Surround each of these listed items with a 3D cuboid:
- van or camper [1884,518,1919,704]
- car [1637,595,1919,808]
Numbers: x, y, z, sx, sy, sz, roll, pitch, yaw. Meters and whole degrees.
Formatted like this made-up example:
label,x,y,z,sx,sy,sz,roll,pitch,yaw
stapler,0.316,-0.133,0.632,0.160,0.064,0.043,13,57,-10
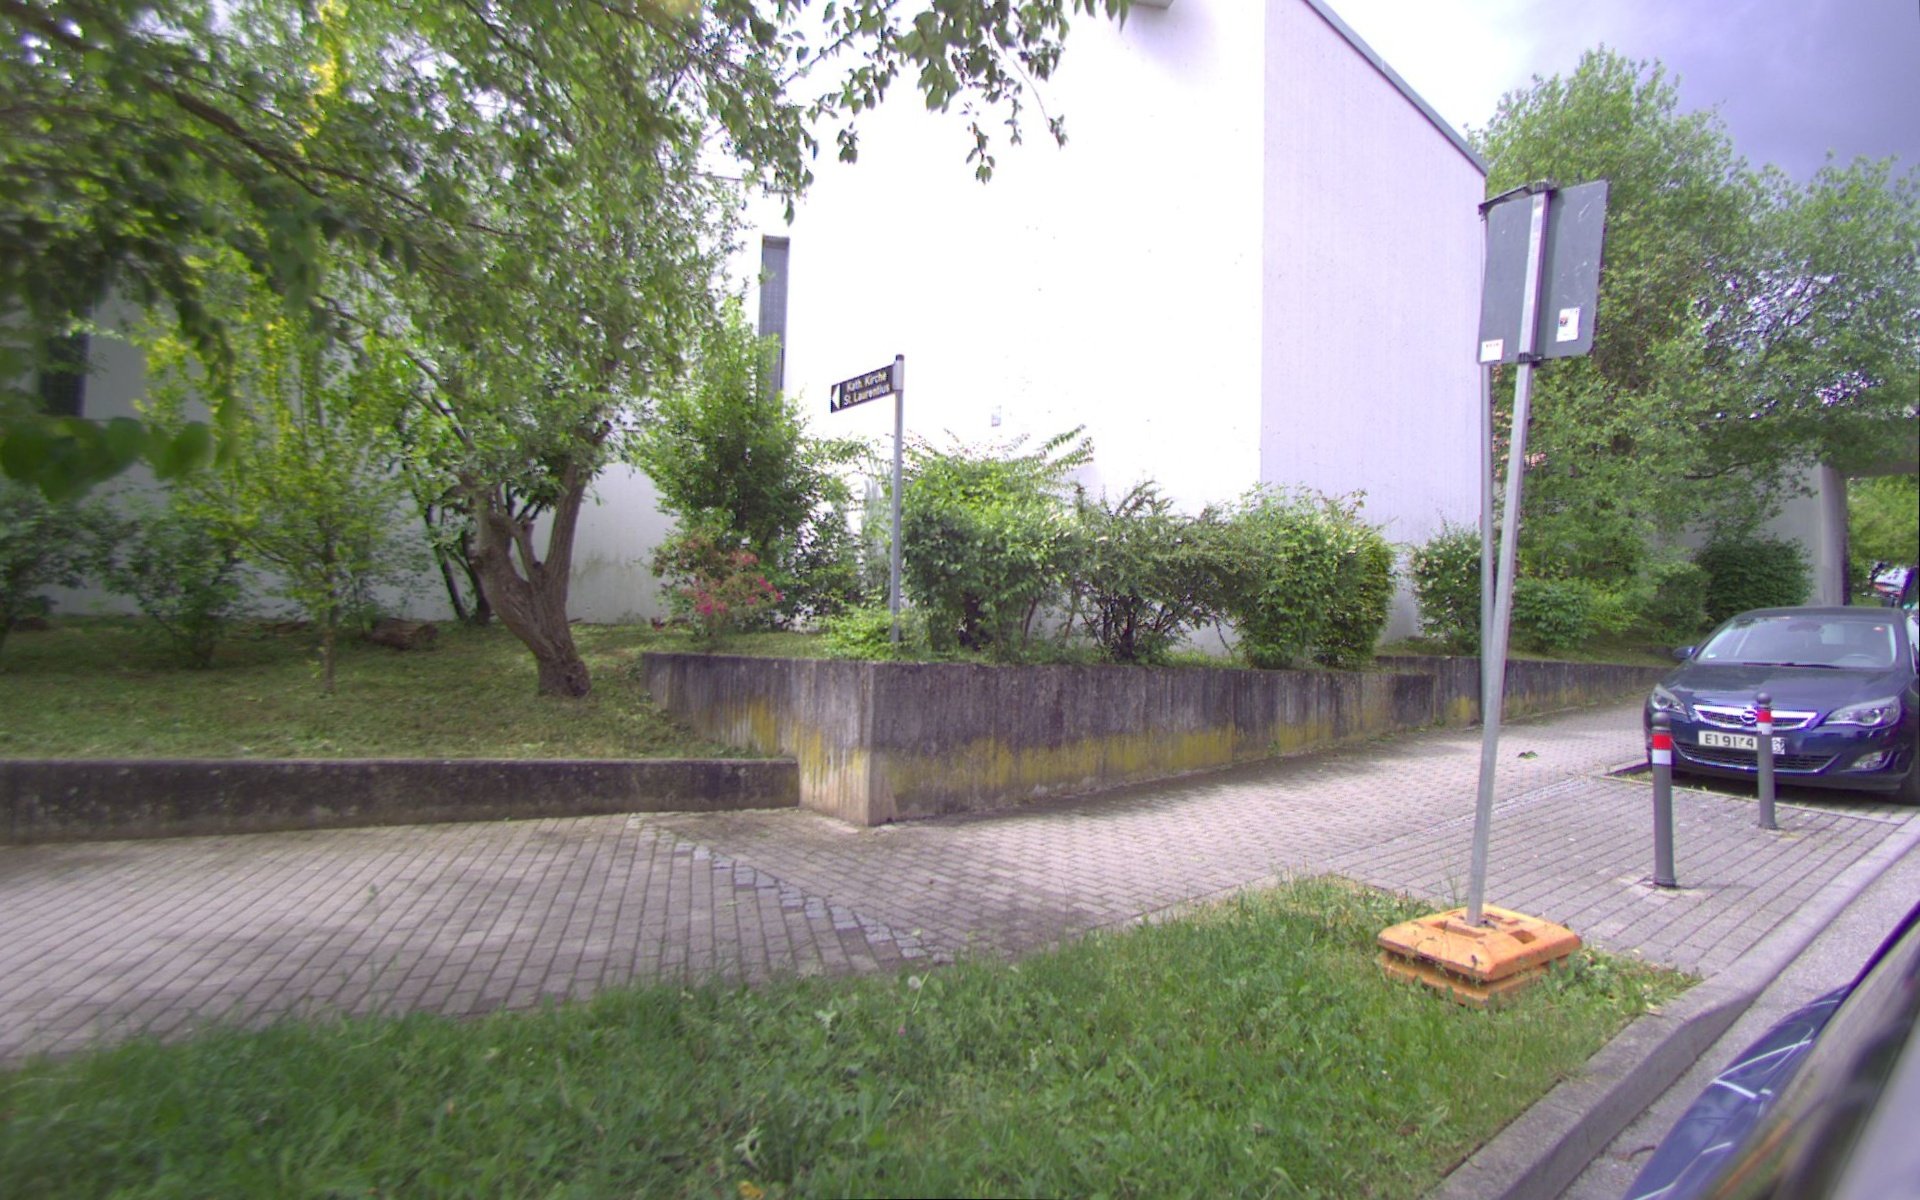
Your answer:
label,x,y,z,sx,sy,sz,roll,pitch,yaw
van or camper,15.683,0.125,14.890,5.650,2.527,1.999,0,0,-36
car,7.525,0.689,8.726,3.927,1.438,1.695,0,0,-38
